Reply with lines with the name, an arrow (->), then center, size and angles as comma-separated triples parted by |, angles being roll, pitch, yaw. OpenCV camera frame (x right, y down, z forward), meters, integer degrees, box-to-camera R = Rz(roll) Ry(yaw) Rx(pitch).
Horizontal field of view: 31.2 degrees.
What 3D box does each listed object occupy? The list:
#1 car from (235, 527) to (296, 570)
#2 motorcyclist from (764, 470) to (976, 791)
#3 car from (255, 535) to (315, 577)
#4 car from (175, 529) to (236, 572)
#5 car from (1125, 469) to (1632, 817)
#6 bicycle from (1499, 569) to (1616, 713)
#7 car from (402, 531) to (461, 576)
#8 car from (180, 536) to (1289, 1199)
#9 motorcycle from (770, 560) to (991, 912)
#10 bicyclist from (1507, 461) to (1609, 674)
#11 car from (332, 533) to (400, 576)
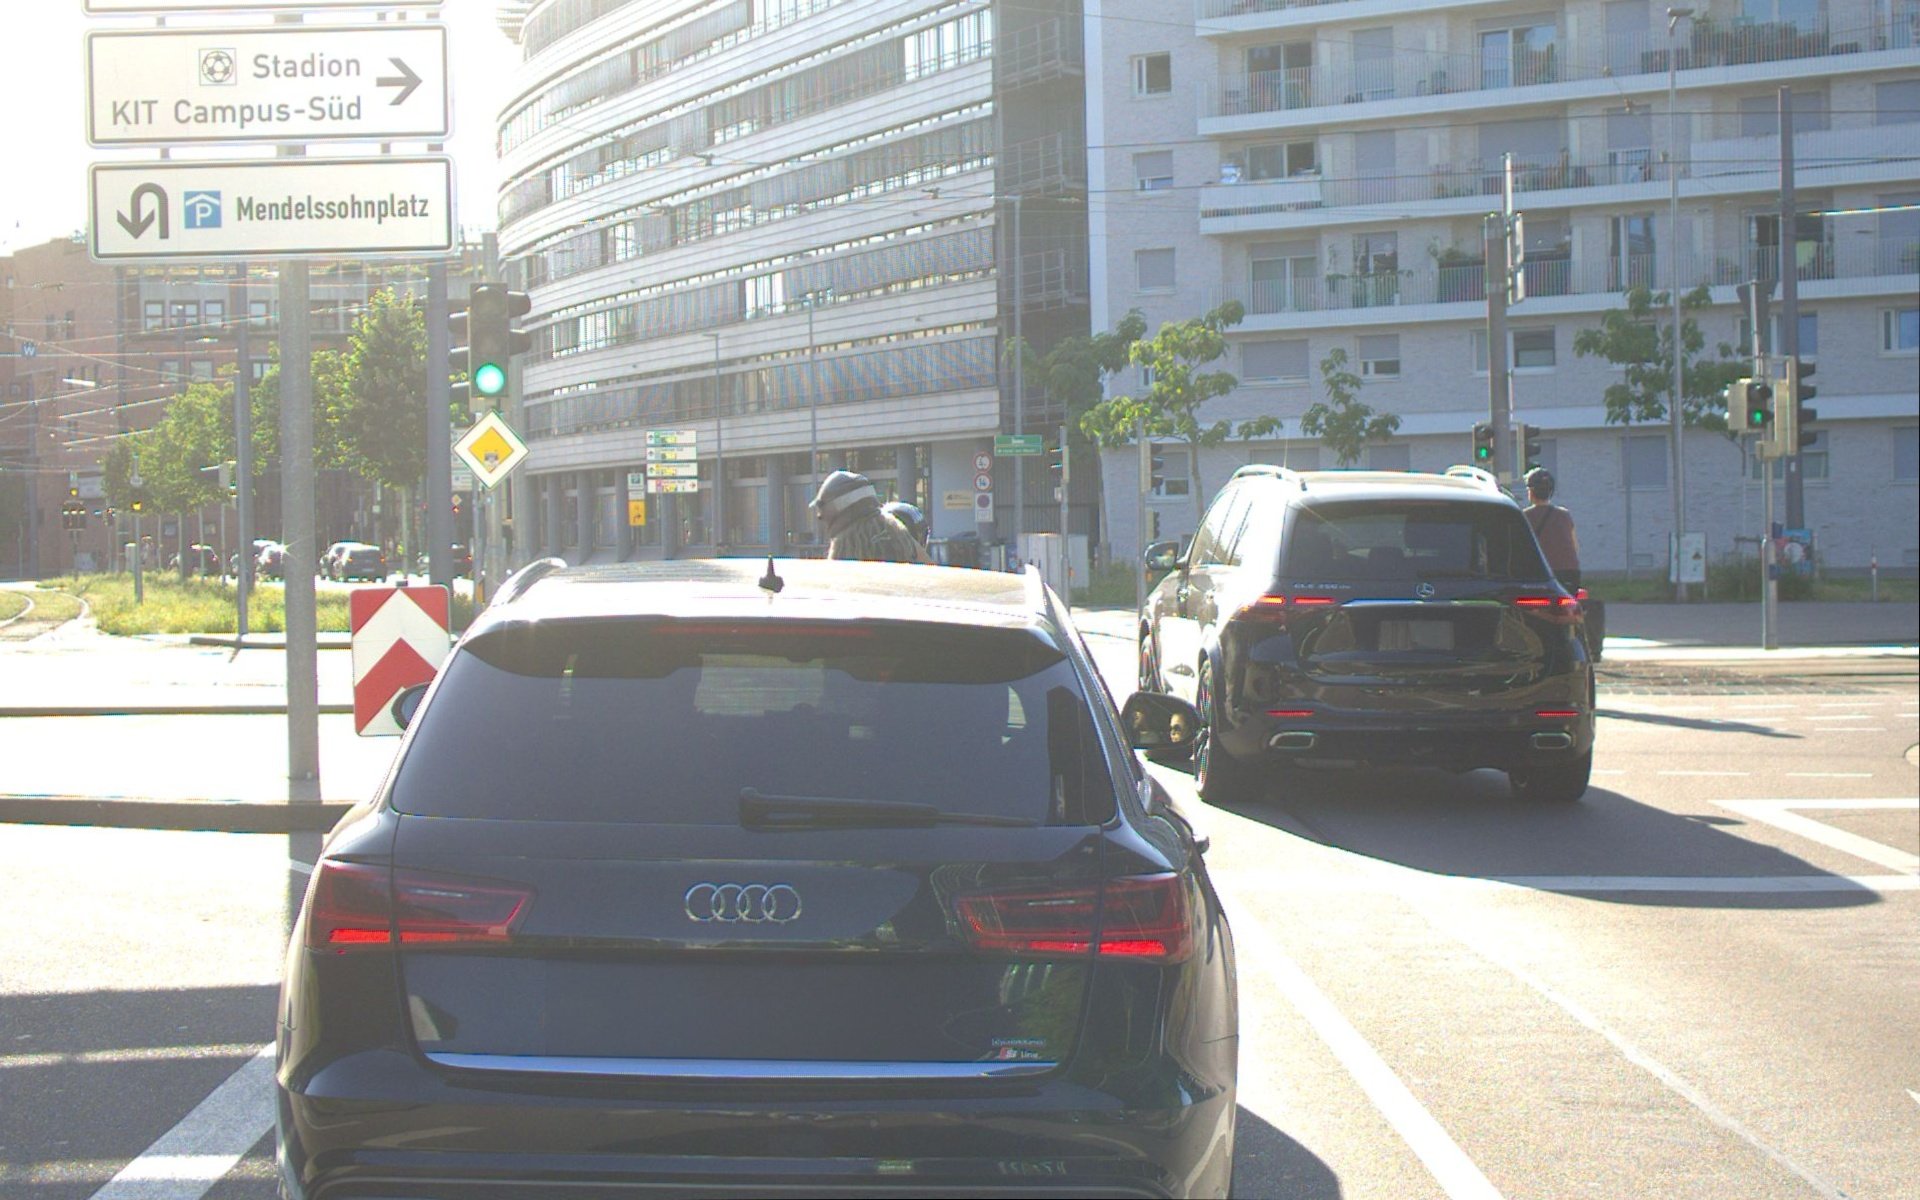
car -> -29.297, -2.155, 144.912 | 1.993, 1.700, 4.001 | -2, 1, -19
motorcyclist -> -0.377, 0.119, 14.613 | 0.862, 1.322, 0.681 | -1, 1, -1
car -> -27.307, -1.766, 139.009 | 1.993, 1.590, 4.001 | -2, 1, -16
car -> -31.690, -2.086, 144.333 | 1.993, 1.700, 4.001 | -2, 1, -19
car -> 2.186, 0.157, 19.257 | 2.003, 1.709, 4.373 | 1, 1, -4
bicycle -> 4.683, 0.303, 27.042 | 0.654, 1.039, 1.929 | -1, 2, 2
car -> -22.807, -2.000, 148.310 | 1.993, 1.831, 4.001 | -2, 1, -16
car -> -0.417, 0.609, 7.758 | 1.842, 1.449, 4.001 | 1, 1, -1
motorcycle -> -0.327, 0.532, 14.685 | 0.862, 1.388, 1.894 | -1, 1, -1
bicyclist -> 4.695, -0.261, 27.034 | 0.654, 1.637, 0.972 | -1, 2, 2
car -> -23.627, -1.795, 136.611 | 1.993, 1.590, 4.001 | -2, 1, -19
